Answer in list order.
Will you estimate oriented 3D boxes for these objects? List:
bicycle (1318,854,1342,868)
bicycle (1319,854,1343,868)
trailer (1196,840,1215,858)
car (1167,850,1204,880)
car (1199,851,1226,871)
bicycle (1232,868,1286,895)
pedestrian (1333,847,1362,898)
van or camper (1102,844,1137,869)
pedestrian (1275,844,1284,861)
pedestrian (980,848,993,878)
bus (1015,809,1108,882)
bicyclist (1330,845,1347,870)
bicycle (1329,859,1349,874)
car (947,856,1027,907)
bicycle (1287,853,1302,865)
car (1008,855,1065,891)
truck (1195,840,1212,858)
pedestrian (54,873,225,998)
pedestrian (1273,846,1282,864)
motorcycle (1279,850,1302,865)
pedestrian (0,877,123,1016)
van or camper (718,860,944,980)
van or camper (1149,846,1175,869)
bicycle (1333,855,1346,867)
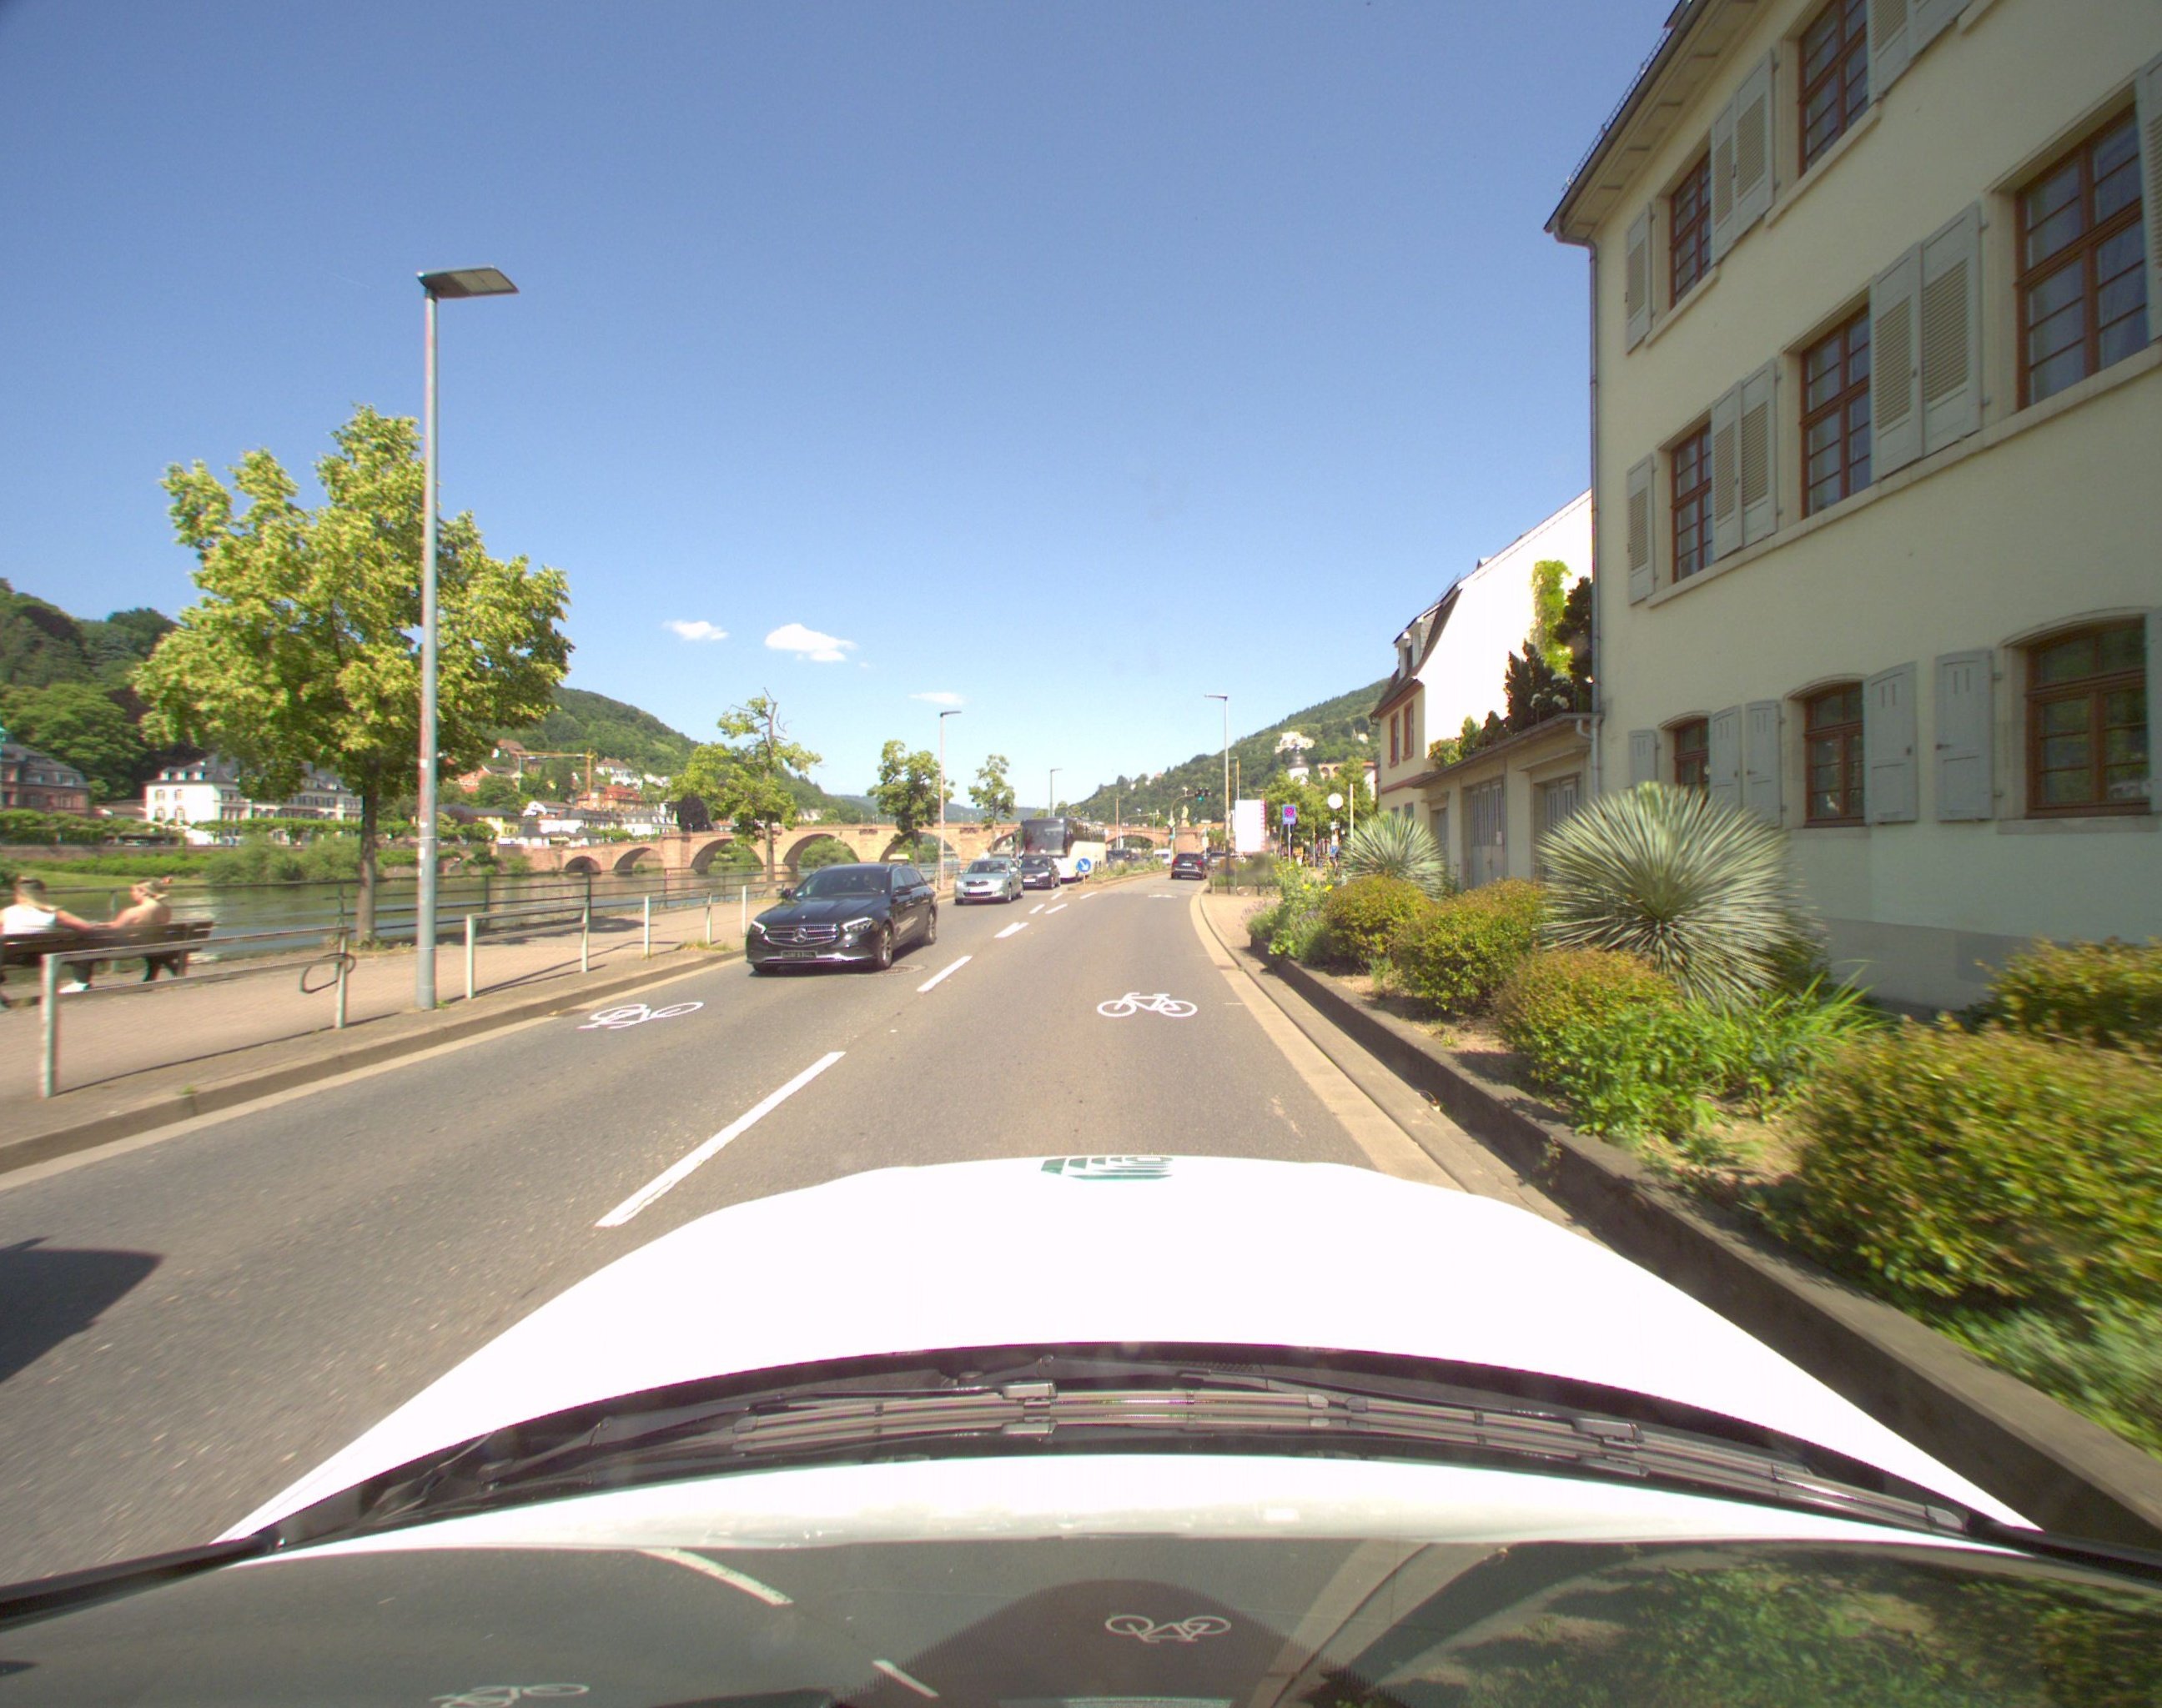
[{"bbox_3d":[22.293,0.632,72.916,1.980,1.198,0.525,2,1,26],"label":"bicycle"},{"bbox_3d":[22.500,0.650,73.384,1.993,1.198,0.525,1,1,26],"label":"bicycle"},{"bbox_3d":[24.136,-0.961,157.381,2.639,3.403,8.860,-1,0,14],"label":"trailer"},{"bbox_3d":[5.960,0.593,46.025,1.916,1.553,4.843,2,0,8],"label":"car"},{"bbox_3d":[10.143,0.517,62.757,1.914,1.461,4.846,-1,0,11],"label":"car"},{"bbox_3d":[6.271,0.959,28.786,1.803,0.878,0.502,1,0,2],"label":"bicycle"},{"bbox_3d":[8.522,0.592,26.062,0.758,1.595,0.697,0,0,6],"label":"pedestrian"},{"bbox_3d":[3.125,0.206,64.505,1.980,1.873,5.195,-2,-1,11],"label":"van or camper"},{"bbox_3d":[19.402,-0.159,79.432,0.690,1.677,0.765,-2,0,6],"label":"pedestrian"},{"bbox_3d":[-5.672,0.527,48.930,0.617,1.780,0.663,0,0,6],"label":"pedestrian"},{"bbox_3d":[-0.762,-0.332,46.416,2.614,3.564,13.020,-1,-1,11],"label":"bus"},{"bbox_3d":[16.848,0.225,53.316,0.764,1.583,1.089,-1,-1,0],"label":"bicyclist"},{"bbox_3d":[16.831,0.805,53.149,0.747,0.964,1.782,0,0,0],"label":"bicycle"},{"bbox_3d":[-2.991,0.833,26.748,1.805,1.428,4.315,-2,0,4],"label":"car"},{"bbox_3d":[22.428,0.531,85.718,1.475,1.120,0.295,-2,-1,8],"label":"bicycle"},{"bbox_3d":[-1.879,0.782,35.637,1.808,1.429,4.199,-2,0,5],"label":"car"},{"bbox_3d":[23.179,-0.957,153.646,2.639,3.403,4.467,-1,0,14],"label":"truck"},{"bbox_3d":[-10.350,0.867,8.987,0.931,1.281,0.851,-1,-1,7],"label":"pedestrian"},{"bbox_3d":[19.264,0.085,79.729,0.690,1.771,0.765,-2,0,6],"label":"pedestrian"},{"bbox_3d":[21.426,0.364,83.356,0.767,1.465,2.273,0,-2,-35],"label":"motorcycle"},{"bbox_3d":[-10.463,0.881,8.080,0.931,1.281,0.851,-1,-1,7],"label":"pedestrian"},{"bbox_3d":[-3.599,0.863,12.792,1.987,1.454,4.683,-2,0,1],"label":"van or camper"},{"bbox_3d":[9.313,0.460,92.928,1.979,2.450,5.515,-2,-1,15],"label":"van or camper"},{"bbox_3d":[23.579,0.637,74.310,0.588,1.067,2.078,-2,-2,33],"label":"bicycle"}]
